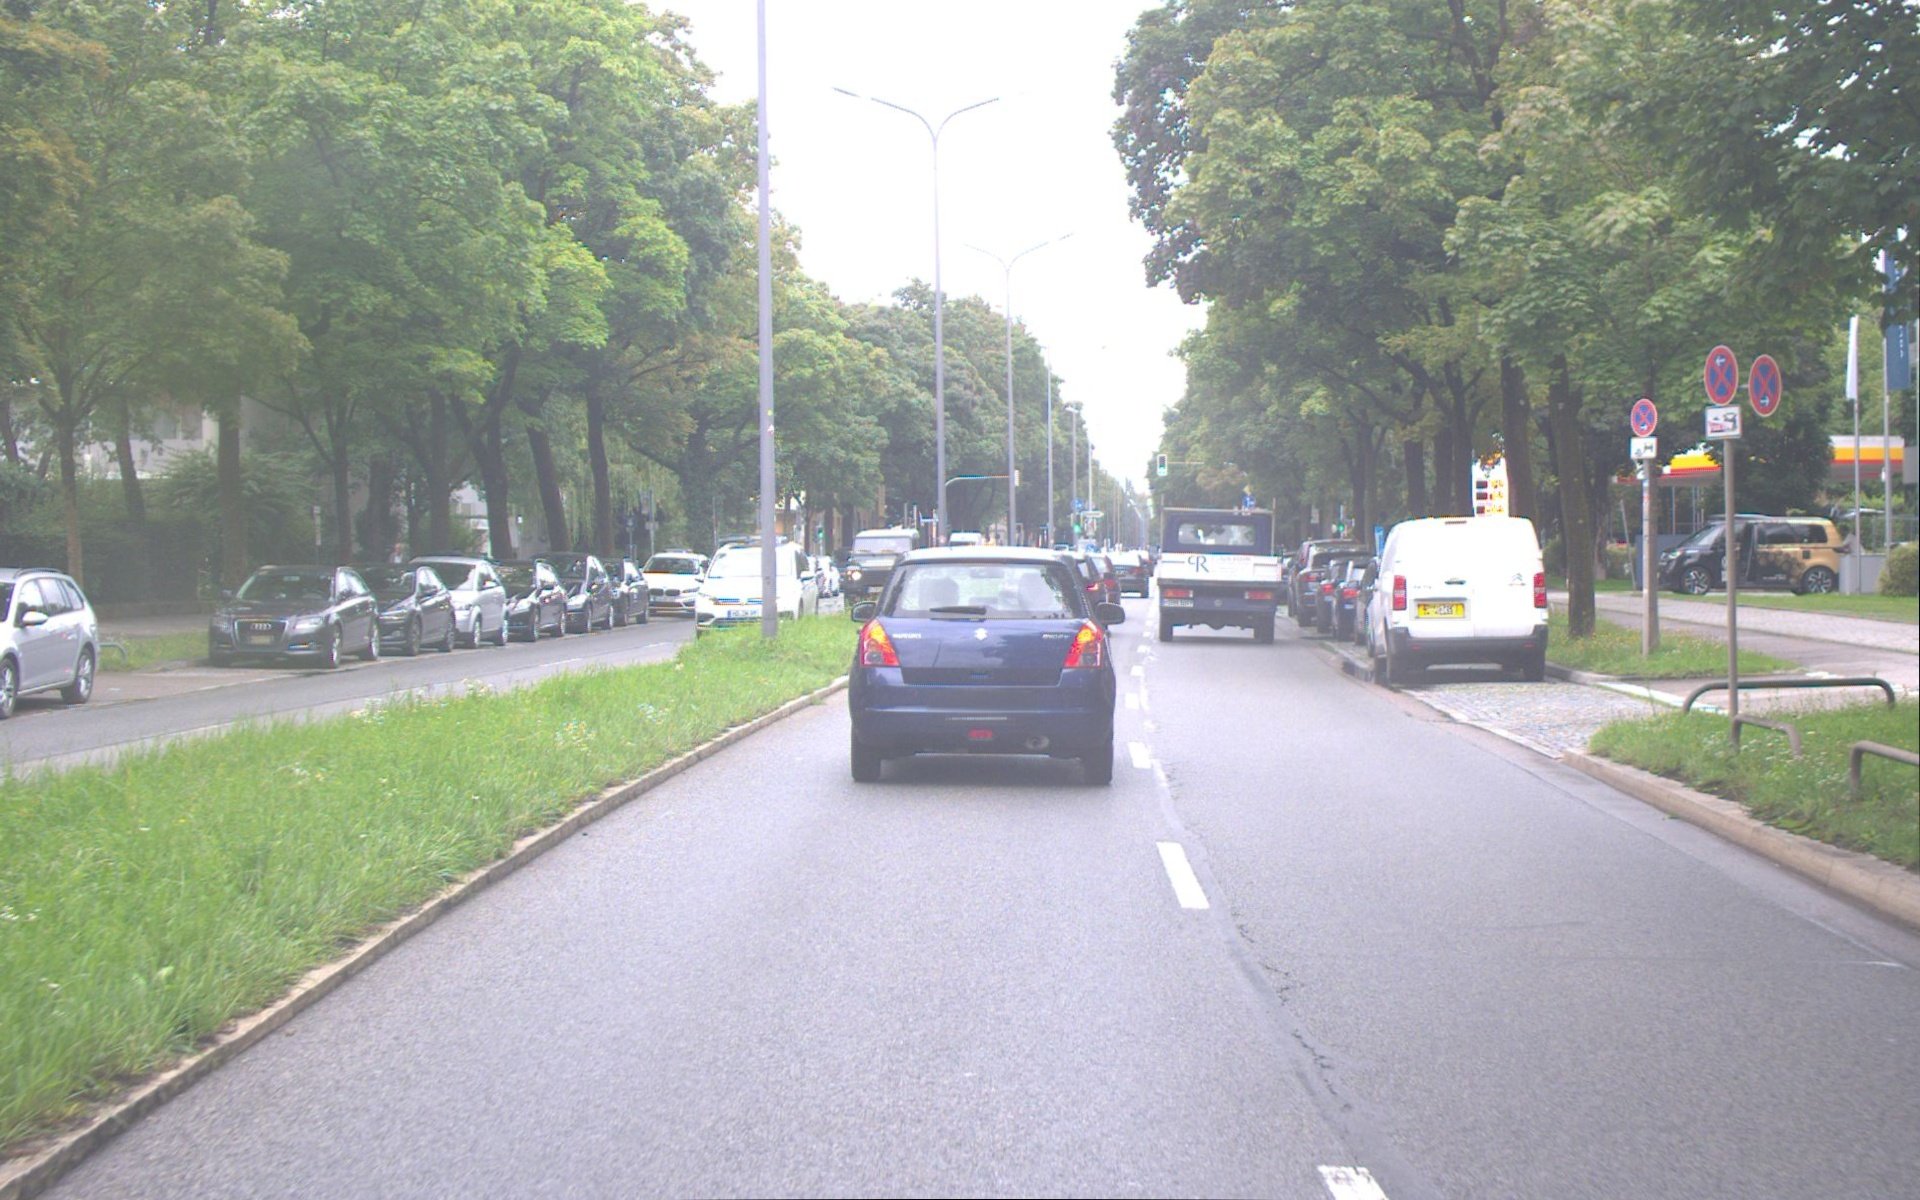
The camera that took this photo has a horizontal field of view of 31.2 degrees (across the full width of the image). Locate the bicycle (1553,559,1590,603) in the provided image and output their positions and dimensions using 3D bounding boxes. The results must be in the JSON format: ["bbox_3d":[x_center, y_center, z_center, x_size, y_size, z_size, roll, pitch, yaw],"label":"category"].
[{"bbox_3d":[16.974,-0.538,95.520,0.748,1.179,2.246,0,1,3],"label":"bicycle"}]

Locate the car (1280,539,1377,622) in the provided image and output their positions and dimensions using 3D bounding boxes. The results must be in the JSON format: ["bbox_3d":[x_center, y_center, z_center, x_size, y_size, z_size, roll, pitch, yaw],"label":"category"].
[{"bbox_3d":[8.273,-0.461,77.445,1.893,1.794,4.861,-1,1,3],"label":"car"}]

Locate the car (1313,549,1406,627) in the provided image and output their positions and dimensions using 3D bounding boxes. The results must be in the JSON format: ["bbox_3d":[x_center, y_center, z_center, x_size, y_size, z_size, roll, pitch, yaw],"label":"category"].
[{"bbox_3d":[7.652,-0.254,66.028,1.702,1.403,4.511,-1,1,6],"label":"car"}]

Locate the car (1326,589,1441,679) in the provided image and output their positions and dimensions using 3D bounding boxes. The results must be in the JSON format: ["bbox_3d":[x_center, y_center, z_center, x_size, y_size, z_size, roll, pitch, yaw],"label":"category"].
[{"bbox_3d":[7.225,0.561,58.933,1.702,1.416,4.120,-1,1,4],"label":"car"}]

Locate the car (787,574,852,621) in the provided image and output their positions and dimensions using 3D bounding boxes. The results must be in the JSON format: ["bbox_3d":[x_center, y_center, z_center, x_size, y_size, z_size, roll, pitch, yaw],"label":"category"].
[{"bbox_3d":[-4.700,-0.097,115.454,1.675,1.470,4.214,3,1,4],"label":"car"}]

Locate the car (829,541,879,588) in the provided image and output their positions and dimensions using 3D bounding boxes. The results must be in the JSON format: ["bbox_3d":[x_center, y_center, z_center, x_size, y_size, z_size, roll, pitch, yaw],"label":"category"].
[{"bbox_3d":[-4.097,-1.384,133.726,1.796,1.757,5.058,-1,1,0],"label":"car"}]

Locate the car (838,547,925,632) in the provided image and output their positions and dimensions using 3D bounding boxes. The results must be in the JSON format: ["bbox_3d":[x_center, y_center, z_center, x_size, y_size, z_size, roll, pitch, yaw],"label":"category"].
[{"bbox_3d":[-1.917,-0.294,85.507,1.780,2.022,4.818,-1,1,3],"label":"car"}]

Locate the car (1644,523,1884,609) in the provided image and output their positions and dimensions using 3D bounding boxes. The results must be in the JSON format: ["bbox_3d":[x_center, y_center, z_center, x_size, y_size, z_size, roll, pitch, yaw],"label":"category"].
[{"bbox_3d":[19.815,-0.841,84.943,5.470,2.076,2.147,0,1,3],"label":"car"}]

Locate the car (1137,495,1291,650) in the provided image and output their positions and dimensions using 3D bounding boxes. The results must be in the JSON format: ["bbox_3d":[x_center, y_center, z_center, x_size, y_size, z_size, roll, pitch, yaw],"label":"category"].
[{"bbox_3d":[4.285,-0.473,57.628,2.419,2.436,5.086,1,1,5],"label":"car"}]

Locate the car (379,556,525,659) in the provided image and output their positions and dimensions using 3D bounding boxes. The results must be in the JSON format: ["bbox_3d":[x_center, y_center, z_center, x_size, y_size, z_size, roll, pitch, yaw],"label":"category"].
[{"bbox_3d":[-8.719,0.097,59.241,1.626,1.642,3.867,2,1,4],"label":"car"}]

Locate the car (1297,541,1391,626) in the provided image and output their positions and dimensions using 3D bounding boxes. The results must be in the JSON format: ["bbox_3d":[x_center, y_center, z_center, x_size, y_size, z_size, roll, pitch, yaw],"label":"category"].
[{"bbox_3d":[7.922,-0.362,71.214,1.813,1.670,4.799,-1,1,5],"label":"car"}]

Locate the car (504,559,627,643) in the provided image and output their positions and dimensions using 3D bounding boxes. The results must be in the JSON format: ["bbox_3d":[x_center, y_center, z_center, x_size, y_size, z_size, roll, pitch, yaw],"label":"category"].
[{"bbox_3d":[-7.994,-0.003,70.019,1.686,1.591,4.210,2,1,4],"label":"car"}]

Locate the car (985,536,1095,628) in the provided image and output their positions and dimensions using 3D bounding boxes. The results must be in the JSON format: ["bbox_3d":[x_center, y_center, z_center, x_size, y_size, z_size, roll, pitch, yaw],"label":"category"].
[{"bbox_3d":[1.399,-0.331,58.984,1.799,1.494,3.660,-1,1,2],"label":"car"}]

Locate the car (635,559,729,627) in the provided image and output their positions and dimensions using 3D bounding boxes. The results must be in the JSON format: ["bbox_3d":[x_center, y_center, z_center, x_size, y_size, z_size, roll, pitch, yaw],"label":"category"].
[{"bbox_3d":[-6.969,-0.199,86.588,1.757,1.589,4.489,2,1,2],"label":"car"}]

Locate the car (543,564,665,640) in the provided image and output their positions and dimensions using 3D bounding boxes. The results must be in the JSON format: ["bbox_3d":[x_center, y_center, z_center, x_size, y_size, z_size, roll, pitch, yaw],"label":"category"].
[{"bbox_3d":[-7.703,0.013,74.763,1.760,1.508,4.947,2,1,4],"label":"car"}]

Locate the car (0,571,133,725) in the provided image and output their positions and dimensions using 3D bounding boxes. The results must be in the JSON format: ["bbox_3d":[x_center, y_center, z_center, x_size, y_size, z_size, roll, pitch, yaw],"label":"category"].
[{"bbox_3d":[-10.254,0.460,36.061,1.736,1.443,4.822,2,1,3],"label":"car"}]

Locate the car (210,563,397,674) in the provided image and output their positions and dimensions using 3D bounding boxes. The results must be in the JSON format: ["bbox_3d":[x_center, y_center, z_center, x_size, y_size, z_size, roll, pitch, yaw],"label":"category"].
[{"bbox_3d":[-9.301,0.230,49.004,1.580,1.418,4.362,2,1,3],"label":"car"}]

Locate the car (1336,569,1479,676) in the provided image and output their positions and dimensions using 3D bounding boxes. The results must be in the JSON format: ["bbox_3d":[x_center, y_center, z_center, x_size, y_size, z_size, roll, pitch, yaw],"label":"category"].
[{"bbox_3d":[6.286,0.285,48.633,1.702,1.392,4.232,-1,1,4],"label":"car"}]

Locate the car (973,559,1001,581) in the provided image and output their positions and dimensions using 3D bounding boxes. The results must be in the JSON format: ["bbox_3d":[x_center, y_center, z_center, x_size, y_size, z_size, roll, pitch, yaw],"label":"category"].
[{"bbox_3d":[1.800,-2.003,228.806,1.636,1.437,3.734,-1,1,4],"label":"car"}]

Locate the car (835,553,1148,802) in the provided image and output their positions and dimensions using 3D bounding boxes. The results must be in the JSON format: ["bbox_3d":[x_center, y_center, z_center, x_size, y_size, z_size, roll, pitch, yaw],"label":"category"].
[{"bbox_3d":[0.205,0.449,22.777,1.896,1.494,3.660,1,1,0],"label":"car"}]

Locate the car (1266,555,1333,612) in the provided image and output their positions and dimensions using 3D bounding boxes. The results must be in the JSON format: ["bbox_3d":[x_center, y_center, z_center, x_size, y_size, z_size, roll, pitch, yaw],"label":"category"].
[{"bbox_3d":[9.531,-0.474,96.539,1.780,1.506,4.284,-2,1,5],"label":"car"}]

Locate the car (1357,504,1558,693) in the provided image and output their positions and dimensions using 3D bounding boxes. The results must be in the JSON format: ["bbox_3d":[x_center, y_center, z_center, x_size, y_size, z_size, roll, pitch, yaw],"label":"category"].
[{"bbox_3d":[6.039,-0.055,42.294,1.987,2.150,5.555,-1,1,4],"label":"car"}]

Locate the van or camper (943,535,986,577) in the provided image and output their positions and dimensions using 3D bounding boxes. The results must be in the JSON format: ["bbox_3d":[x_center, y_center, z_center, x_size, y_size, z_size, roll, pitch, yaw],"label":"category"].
[{"bbox_3d":[0.305,-2.696,208.293,2.140,2.467,6.258,-1,1,4],"label":"van or camper"}]

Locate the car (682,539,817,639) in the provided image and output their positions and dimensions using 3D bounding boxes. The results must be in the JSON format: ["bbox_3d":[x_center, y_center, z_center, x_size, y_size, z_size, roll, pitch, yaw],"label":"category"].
[{"bbox_3d":[-3.618,-0.217,59.707,1.834,1.637,4.350,-1,1,3],"label":"car"}]

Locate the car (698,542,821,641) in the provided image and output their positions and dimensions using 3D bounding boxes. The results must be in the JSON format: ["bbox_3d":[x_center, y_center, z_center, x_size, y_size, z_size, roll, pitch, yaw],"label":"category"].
[{"bbox_3d":[-4.696,-0.227,81.450,2.209,2.186,5.799,-2,1,3],"label":"car"}]

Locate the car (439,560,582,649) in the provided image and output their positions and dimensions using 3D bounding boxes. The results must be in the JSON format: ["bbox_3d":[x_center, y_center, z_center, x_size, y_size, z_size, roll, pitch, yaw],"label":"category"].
[{"bbox_3d":[-8.374,0.057,64.441,1.716,1.519,5.034,2,1,3],"label":"car"}]

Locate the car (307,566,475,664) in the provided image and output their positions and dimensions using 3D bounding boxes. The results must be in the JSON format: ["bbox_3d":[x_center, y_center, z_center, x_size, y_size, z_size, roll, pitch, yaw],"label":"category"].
[{"bbox_3d":[-9.002,0.209,54.682,1.626,1.418,4.191,2,1,4],"label":"car"}]
